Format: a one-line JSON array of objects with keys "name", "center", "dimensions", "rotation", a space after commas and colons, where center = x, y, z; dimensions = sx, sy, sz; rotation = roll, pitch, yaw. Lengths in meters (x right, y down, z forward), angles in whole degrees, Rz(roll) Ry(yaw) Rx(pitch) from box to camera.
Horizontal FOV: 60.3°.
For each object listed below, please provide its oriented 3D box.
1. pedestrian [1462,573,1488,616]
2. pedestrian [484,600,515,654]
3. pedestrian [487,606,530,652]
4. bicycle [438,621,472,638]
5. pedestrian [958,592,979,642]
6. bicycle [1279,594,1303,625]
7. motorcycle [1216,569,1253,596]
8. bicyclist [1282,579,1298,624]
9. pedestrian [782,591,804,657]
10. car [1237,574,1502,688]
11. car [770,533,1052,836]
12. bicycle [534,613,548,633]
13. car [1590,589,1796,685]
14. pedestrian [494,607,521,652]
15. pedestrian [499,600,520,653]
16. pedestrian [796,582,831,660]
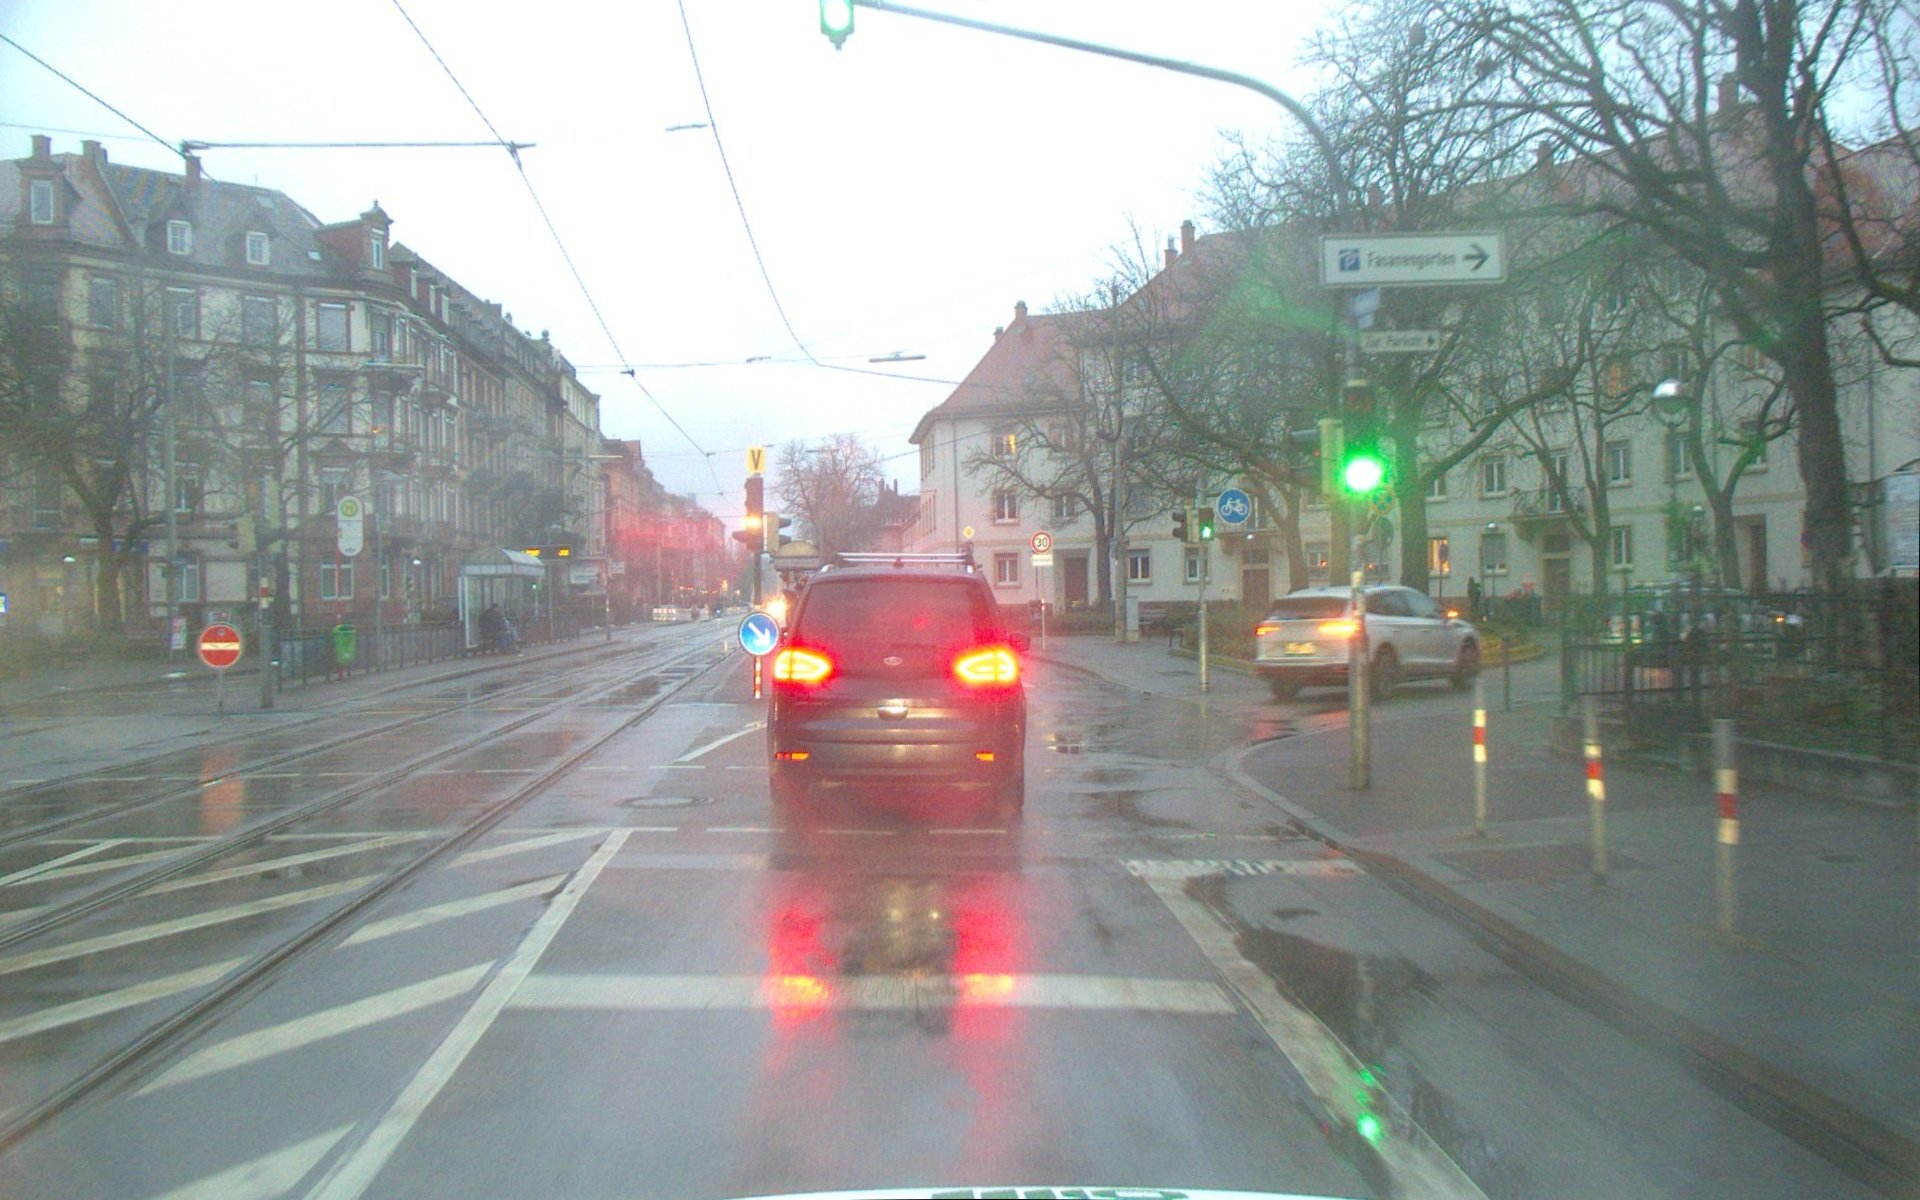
[{"name": "pedestrian", "center": [20.371, -0.208, 65.440], "dimensions": [0.678, 1.689, 0.707], "rotation": [-2, 0, -30]}, {"name": "pedestrian", "center": [-12.528, 0.726, 45.036], "dimensions": [0.671, 1.428, 0.577], "rotation": [2, -1, -6]}, {"name": "pedestrian", "center": [-12.743, 0.817, 46.694], "dimensions": [1.035, 1.276, 0.506], "rotation": [2, -1, -6]}, {"name": "bicycle", "center": [-24.275, 1.432, 79.540], "dimensions": [0.392, 0.772, 1.807], "rotation": [-1, 0, 30]}, {"name": "pedestrian", "center": [0.336, 0.655, 65.341], "dimensions": [0.700, 1.951, 0.689], "rotation": [2, -1, 6]}, {"name": "bicycle", "center": [14.217, 0.394, 71.045], "dimensions": [0.457, 1.314, 1.912], "rotation": [-1, 0, -5]}, {"name": "motorcycle", "center": [12.036, -0.756, 72.468], "dimensions": [0.565, 1.124, 1.579], "rotation": [-4, 2, -41]}, {"name": "bicyclist", "center": [14.177, 0.057, 71.145], "dimensions": [0.457, 1.919, 0.679], "rotation": [-1, 0, -5]}, {"name": "pedestrian", "center": [-4.506, 0.645, 44.665], "dimensions": [0.546, 1.771, 0.570], "rotation": [2, -1, -5]}, {"name": "car", "center": [6.250, 0.467, 24.885], "dimensions": [1.866, 1.536, 4.724], "rotation": [1, -1, 42]}, {"name": "car", "center": [-0.442, 0.553, 12.641], "dimensions": [1.766, 1.903, 4.015], "rotation": [2, 0, -4]}, {"name": "bicycle", "center": [-22.762, 1.253, 89.793], "dimensions": [0.408, 1.024, 1.847], "rotation": [-1, 0, -4]}, {"name": "car", "center": [14.460, 0.731, 32.560], "dimensions": [4.291, 1.759, 1.785], "rotation": [2, -1, -36]}, {"name": "pedestrian", "center": [-12.920, 0.835, 47.214], "dimensions": [0.640, 1.239, 0.516], "rotation": [2, -1, -6]}, {"name": "pedestrian", "center": [-12.395, 0.732, 45.515], "dimensions": [0.464, 1.428, 0.453], "rotation": [2, -1, -6]}, {"name": "pedestrian", "center": [-3.820, 0.549, 43.252], "dimensions": [0.837, 1.990, 0.570], "rotation": [2, -1, -5]}]
